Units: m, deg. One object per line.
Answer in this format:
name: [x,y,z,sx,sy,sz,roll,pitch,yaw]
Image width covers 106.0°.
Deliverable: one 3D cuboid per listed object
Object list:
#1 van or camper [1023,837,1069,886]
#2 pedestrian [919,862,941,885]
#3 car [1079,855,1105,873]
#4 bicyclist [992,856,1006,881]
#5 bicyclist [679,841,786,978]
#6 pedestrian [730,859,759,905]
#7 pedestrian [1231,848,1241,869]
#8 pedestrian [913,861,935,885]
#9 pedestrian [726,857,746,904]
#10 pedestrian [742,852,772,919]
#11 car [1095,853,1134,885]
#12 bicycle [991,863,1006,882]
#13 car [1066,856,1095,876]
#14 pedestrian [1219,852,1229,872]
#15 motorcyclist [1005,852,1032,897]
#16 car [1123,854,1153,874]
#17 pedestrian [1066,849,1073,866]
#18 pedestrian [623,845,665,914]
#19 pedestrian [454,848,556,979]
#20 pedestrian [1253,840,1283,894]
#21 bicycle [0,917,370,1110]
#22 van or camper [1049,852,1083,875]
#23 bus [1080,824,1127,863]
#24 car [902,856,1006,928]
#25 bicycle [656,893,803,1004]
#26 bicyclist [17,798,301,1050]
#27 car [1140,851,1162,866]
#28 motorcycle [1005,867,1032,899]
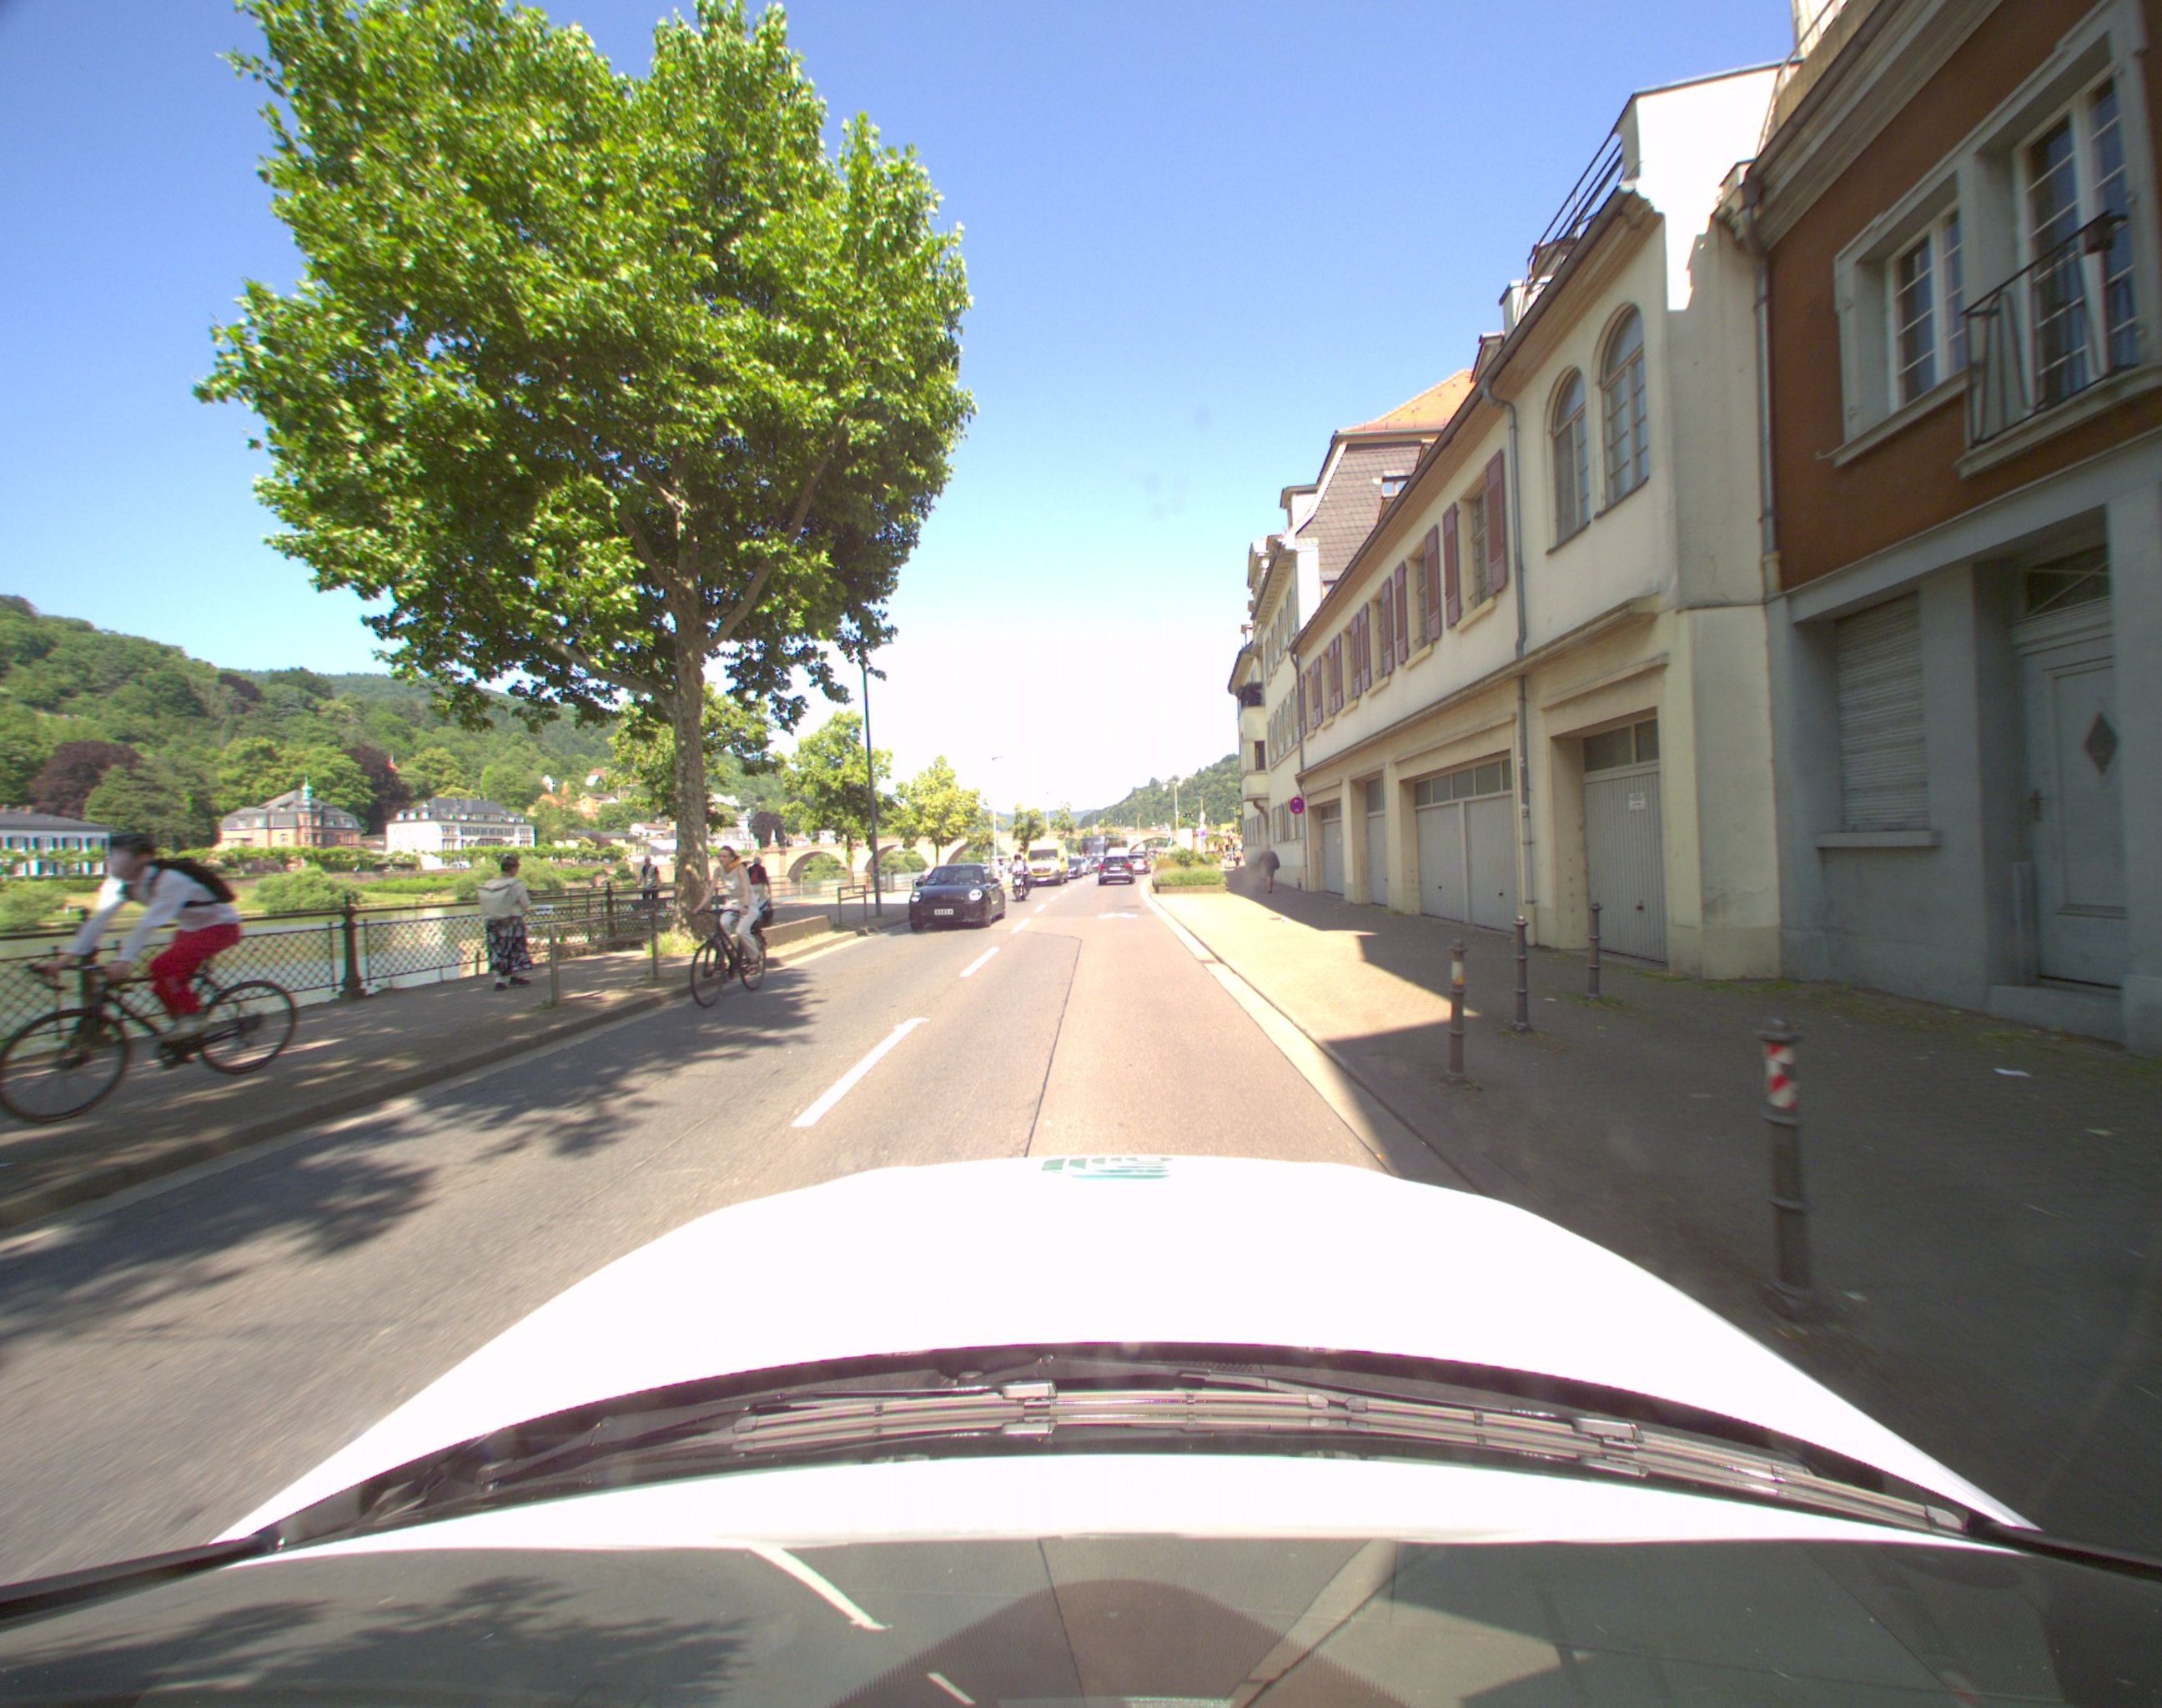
van or camper: [-1.929,0.436,47.413,2.079,2.557,7.095,-1,-1,2]
pedestrian: [-8.641,1.105,46.588,0.931,1.281,0.852,-2,-1,9]
car: [1.033,0.895,73.107,1.806,1.429,4.202,-3,0,8]
bicyclist: [-5.447,0.954,53.978,0.737,1.667,1.090,-2,0,3]
bicyclist: [-4.106,0.615,9.663,0.763,1.531,1.026,0,1,3]
pedestrian: [-11.920,0.989,28.867,0.689,1.616,0.665,-2,-1,8]
pedestrian: [12.673,0.374,66.547,0.733,1.698,0.936,-2,-1,9]
pedestrian: [-8.796,1.045,45.594,0.931,1.281,0.852,-2,-1,9]
pedestrian: [-11.996,0.912,28.319,0.412,1.597,0.452,-2,-1,8]
pedestrian: [-8.320,0.805,20.924,0.659,1.682,0.753,1,-1,-22]
car: [1.801,0.723,42.786,1.918,1.553,4.836,-1,0,3]
bicycle: [-5.441,1.229,53.967,0.708,1.168,1.897,-1,0,3]
car: [-0.002,0.934,66.909,1.804,1.428,4.318,-3,0,6]
pedestrian: [11.728,0.625,66.736,0.757,1.595,0.697,-1,0,8]
motorcyclist: [-2.265,0.721,29.547,0.876,1.583,1.025,-2,-1,0]
car: [4.358,0.724,61.851,1.915,1.461,4.843,-2,0,8]
pedestrian: [-1.235,0.388,90.855,0.617,1.780,0.664,-1,-1,9]
pedestrian: [-12.604,0.730,23.517,0.691,1.945,0.887,-2,-1,0]
pedestrian: [-7.295,0.736,10.343,0.759,1.586,0.696,-2,-1,0]
pedestrian: [6.291,0.433,27.387,0.758,1.713,0.696,-5,-1,4]
bicycle: [-6.385,1.031,5.835,0.751,0.979,1.955,-2,0,4]
van or camper: [-1.057,0.668,58.657,1.985,1.454,4.686,-4,-1,3]
bus: [2.437,-0.931,83.168,2.614,3.564,13.021,-2,-1,11]
car: [-2.884,0.826,19.278,1.695,1.458,4.003,-2,-1,1]
bicycle: [-4.076,1.053,9.634,0.737,1.077,1.956,-1,0,5]
bicyclist: [-6.392,0.450,5.723,0.716,1.583,1.090,-2,-1,3]
car: [7.295,0.419,84.252,1.915,1.461,4.844,-2,-1,9]
motorcycle: [-2.250,1.049,29.477,0.881,1.077,2.325,-2,-2,-3]
